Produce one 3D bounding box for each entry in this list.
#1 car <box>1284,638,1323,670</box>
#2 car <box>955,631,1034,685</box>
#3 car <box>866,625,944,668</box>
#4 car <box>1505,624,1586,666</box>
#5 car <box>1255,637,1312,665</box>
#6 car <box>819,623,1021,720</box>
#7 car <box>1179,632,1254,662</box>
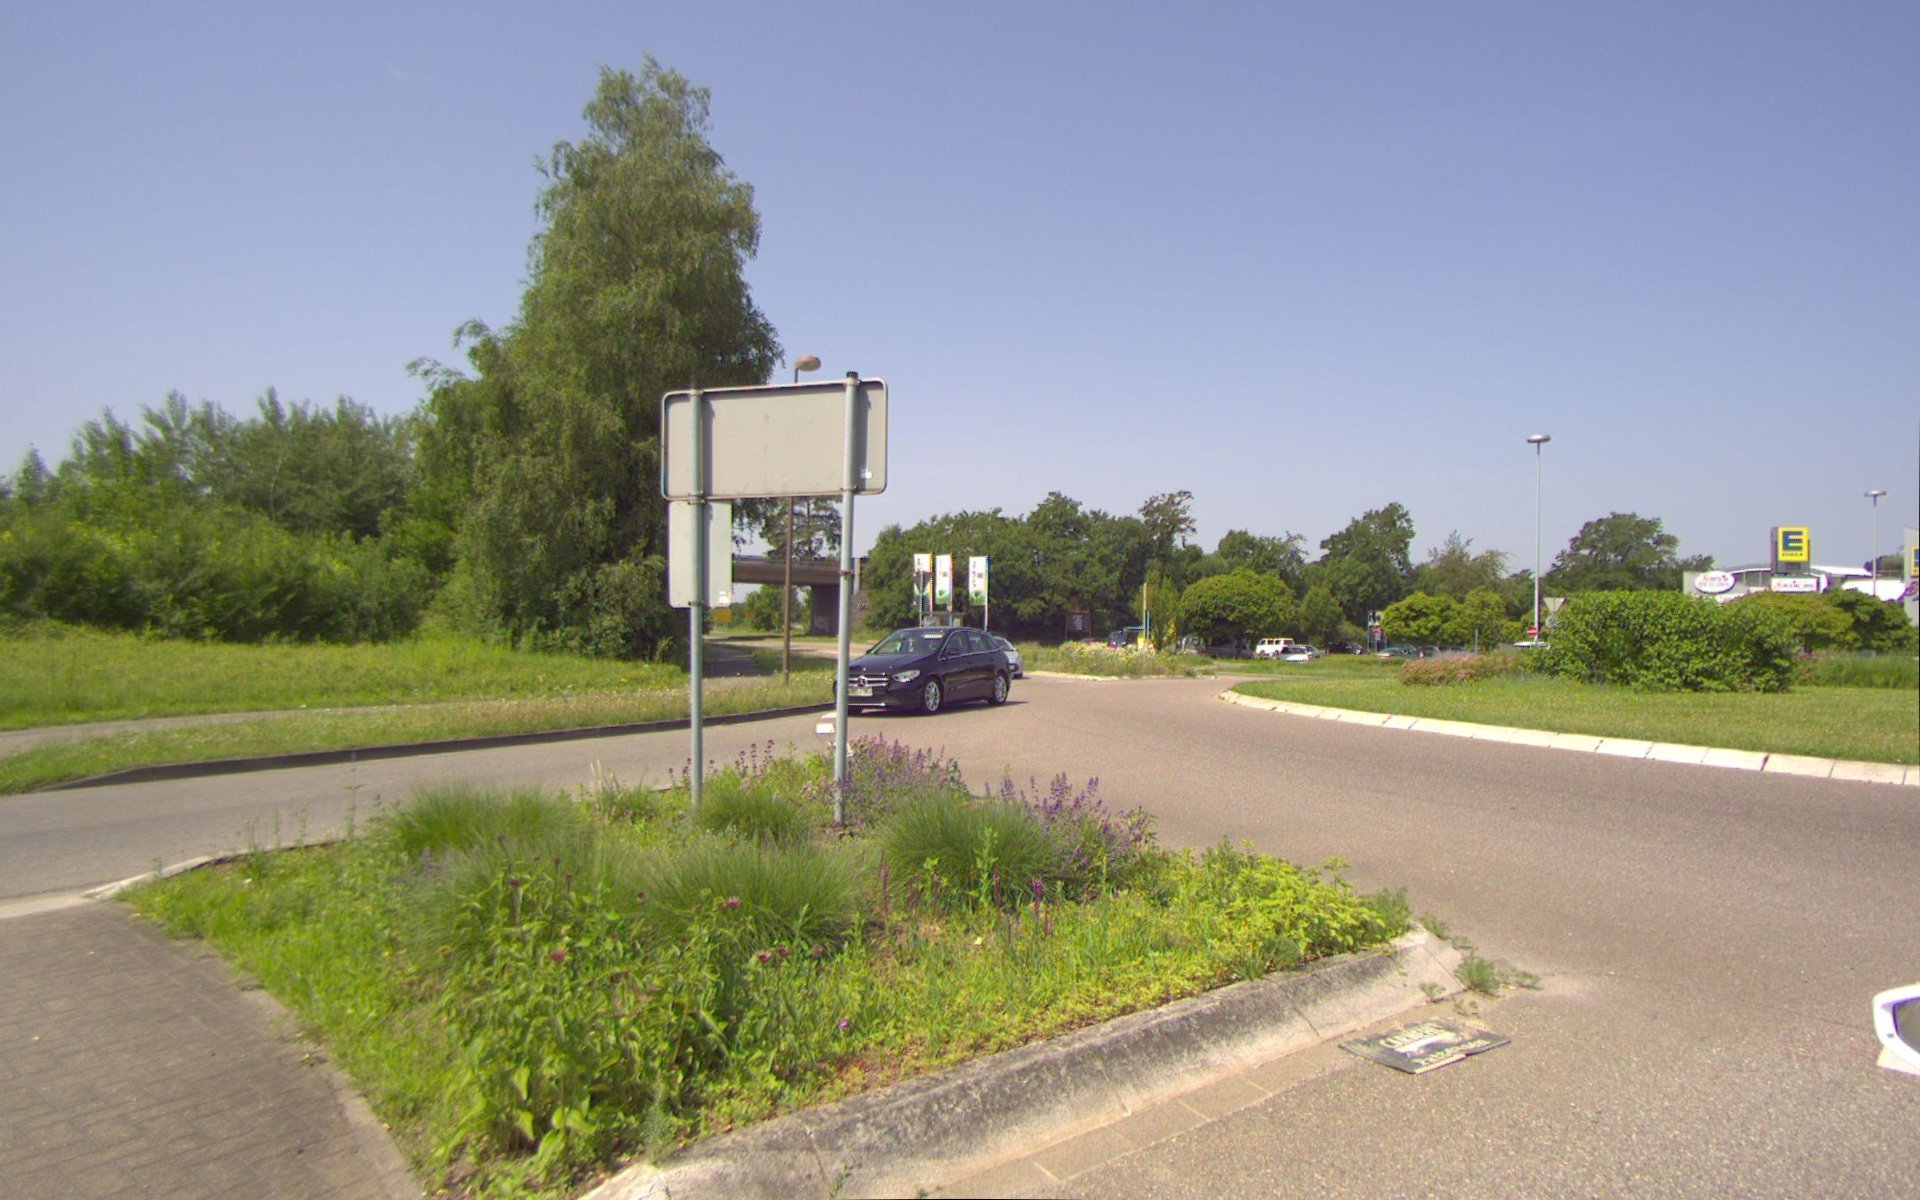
[{"bbox_3d":[18.988,2.958,55.673,1.553,1.517,4.569,2,-1,14],"label":"car"},{"bbox_3d":[1.197,2.063,36.724,2.090,1.637,4.192,1,1,-9],"label":"car"},{"bbox_3d":[-2.638,2.129,46.787,2.165,1.674,5.096,2,0,-21],"label":"car"},{"bbox_3d":[31.786,2.436,54.523,3.943,2.040,1.684,3,-1,-23],"label":"car"},{"bbox_3d":[19.183,3.010,59.581,1.576,1.517,2.798,3,-1,-45],"label":"car"},{"bbox_3d":[-0.589,1.261,18.328,1.726,1.550,4.206,-2,-3,29],"label":"car"},{"bbox_3d":[15.341,2.802,59.974,4.359,1.582,1.859,3,-1,-33],"label":"car"}]
